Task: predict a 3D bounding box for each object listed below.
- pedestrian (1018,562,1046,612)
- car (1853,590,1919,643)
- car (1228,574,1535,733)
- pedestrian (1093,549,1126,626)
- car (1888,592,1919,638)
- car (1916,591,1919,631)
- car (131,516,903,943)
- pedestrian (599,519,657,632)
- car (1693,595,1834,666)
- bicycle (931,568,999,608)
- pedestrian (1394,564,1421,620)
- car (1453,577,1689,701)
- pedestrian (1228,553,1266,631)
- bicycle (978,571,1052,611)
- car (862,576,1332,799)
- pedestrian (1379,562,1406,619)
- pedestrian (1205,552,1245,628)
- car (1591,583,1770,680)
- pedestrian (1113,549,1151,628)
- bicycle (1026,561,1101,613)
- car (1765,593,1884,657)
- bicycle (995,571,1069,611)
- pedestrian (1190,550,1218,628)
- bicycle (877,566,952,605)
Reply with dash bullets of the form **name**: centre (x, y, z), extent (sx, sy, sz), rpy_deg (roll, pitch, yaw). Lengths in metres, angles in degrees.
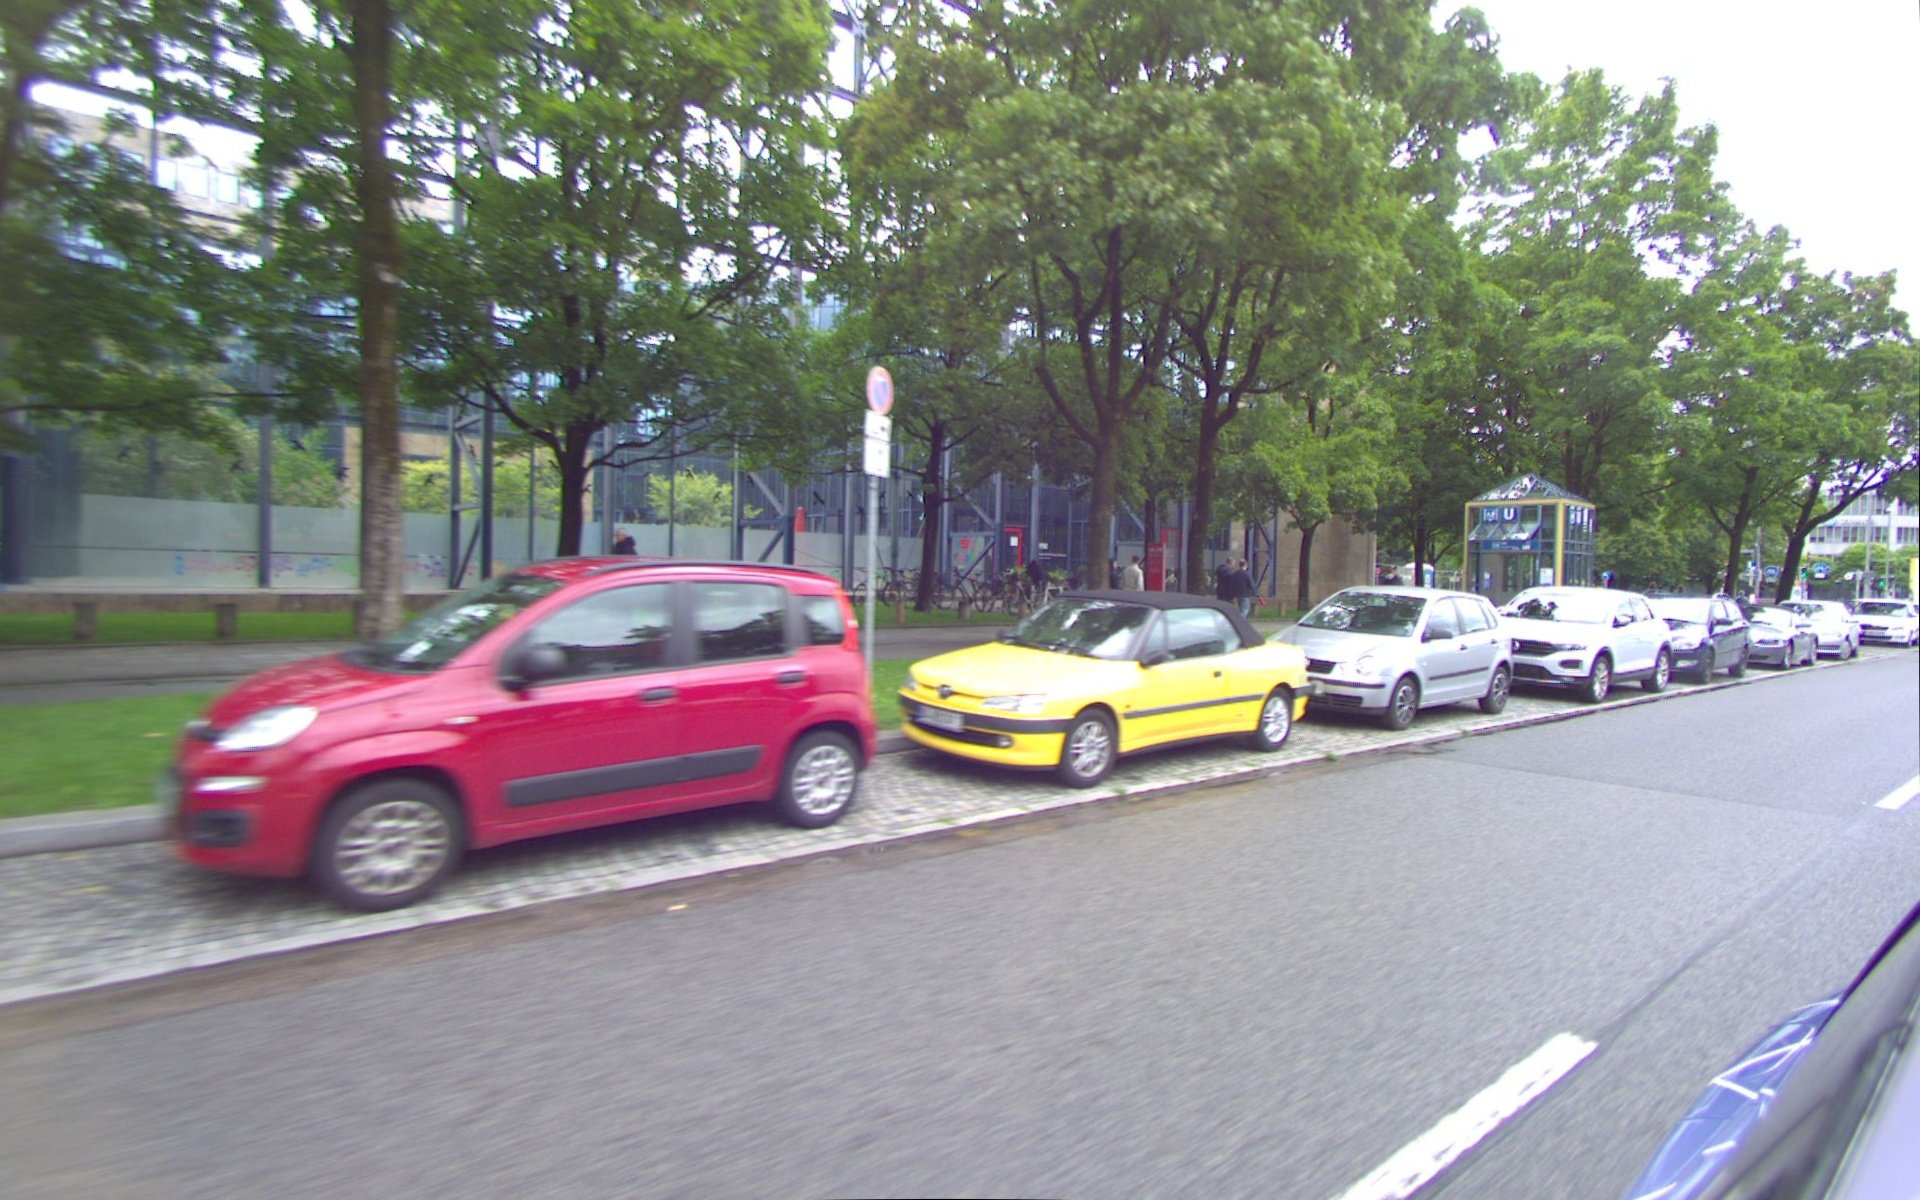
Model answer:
- **pedestrian**: centre (1.745, -0.318, 24.562), extent (0.419, 1.193, 0.507), rpy_deg (-1, 4, -40)
- **car**: centre (30.047, 0.495, 32.392), extent (3.667, 1.522, 1.590), rpy_deg (0, 2, -39)
- **car**: centre (4.930, 0.504, 11.636), extent (3.825, 1.493, 1.627), rpy_deg (0, 2, -39)
- **pedestrian**: centre (3.309, -0.283, 22.358), extent (0.419, 1.647, 0.506), rpy_deg (-1, 4, -44)
- **car**: centre (34.048, 0.528, 35.551), extent (3.667, 1.522, 1.590), rpy_deg (0, 2, -39)
- **car**: centre (38.579, 0.459, 39.305), extent (3.667, 1.522, 1.590), rpy_deg (0, 2, -39)
- **car**: centre (-2.190, 0.442, 5.543), extent (3.563, 1.593, 1.553), rpy_deg (0, 3, -43)
- **pedestrian**: centre (-5.064, -0.386, 15.432), extent (0.633, 1.665, 0.739), rpy_deg (0, 4, -36)
- **car**: centre (17.183, 0.591, 21.601), extent (3.667, 1.333, 1.590), rpy_deg (0, 2, -39)
- **bicycle**: centre (0.134, -0.299, 25.583), extent (1.732, 0.952, 0.618), rpy_deg (0, 2, -42)
- **pedestrian**: centre (14.207, -0.270, 32.154), extent (0.550, 1.743, 0.527), rpy_deg (-1, 4, -44)
- **car**: centre (9.073, 0.484, 14.911), extent (4.022, 1.550, 1.683), rpy_deg (0, 2, -39)
- **pedestrian**: centre (6.609, -0.189, 23.305), extent (0.649, 1.743, 0.527), rpy_deg (-1, 4, -44)
- **bicycle**: centre (1.417, -0.227, 25.616), extent (2.105, 0.952, 0.512), rpy_deg (0, 2, -42)
- **car**: centre (1.333, 0.554, 8.571), extent (4.122, 1.398, 1.626), rpy_deg (0, 3, -42)
- **pedestrian**: centre (13.603, -0.308, 31.800), extent (0.550, 1.743, 0.527), rpy_deg (-1, 4, -44)
- **pedestrian**: centre (6.224, -0.244, 23.743), extent (0.602, 1.710, 0.611), rpy_deg (-1, 4, -44)
- **car**: centre (12.990, 0.497, 18.181), extent (3.667, 1.524, 1.683), rpy_deg (0, 2, -39)
- **pedestrian**: centre (3.722, -0.250, 21.939), extent (0.426, 1.661, 0.613), rpy_deg (0, 4, -38)
- **bicycle**: centre (2.534, -0.333, 24.644), extent (2.105, 1.207, 0.512), rpy_deg (-1, 3, -42)
- **car**: centre (21.476, 0.574, 25.092), extent (3.667, 1.420, 1.590), rpy_deg (0, 2, -39)
- **bicycle**: centre (1.818, -0.217, 25.259), extent (2.105, 0.952, 0.512), rpy_deg (0, 2, -42)
- **pedestrian**: centre (5.437, -0.249, 22.533), extent (0.344, 1.710, 0.432), rpy_deg (0, 2, -44)
- **bicycle**: centre (-1.147, -0.387, 25.959), extent (2.029, 0.952, 0.571), rpy_deg (-1, 3, -42)
